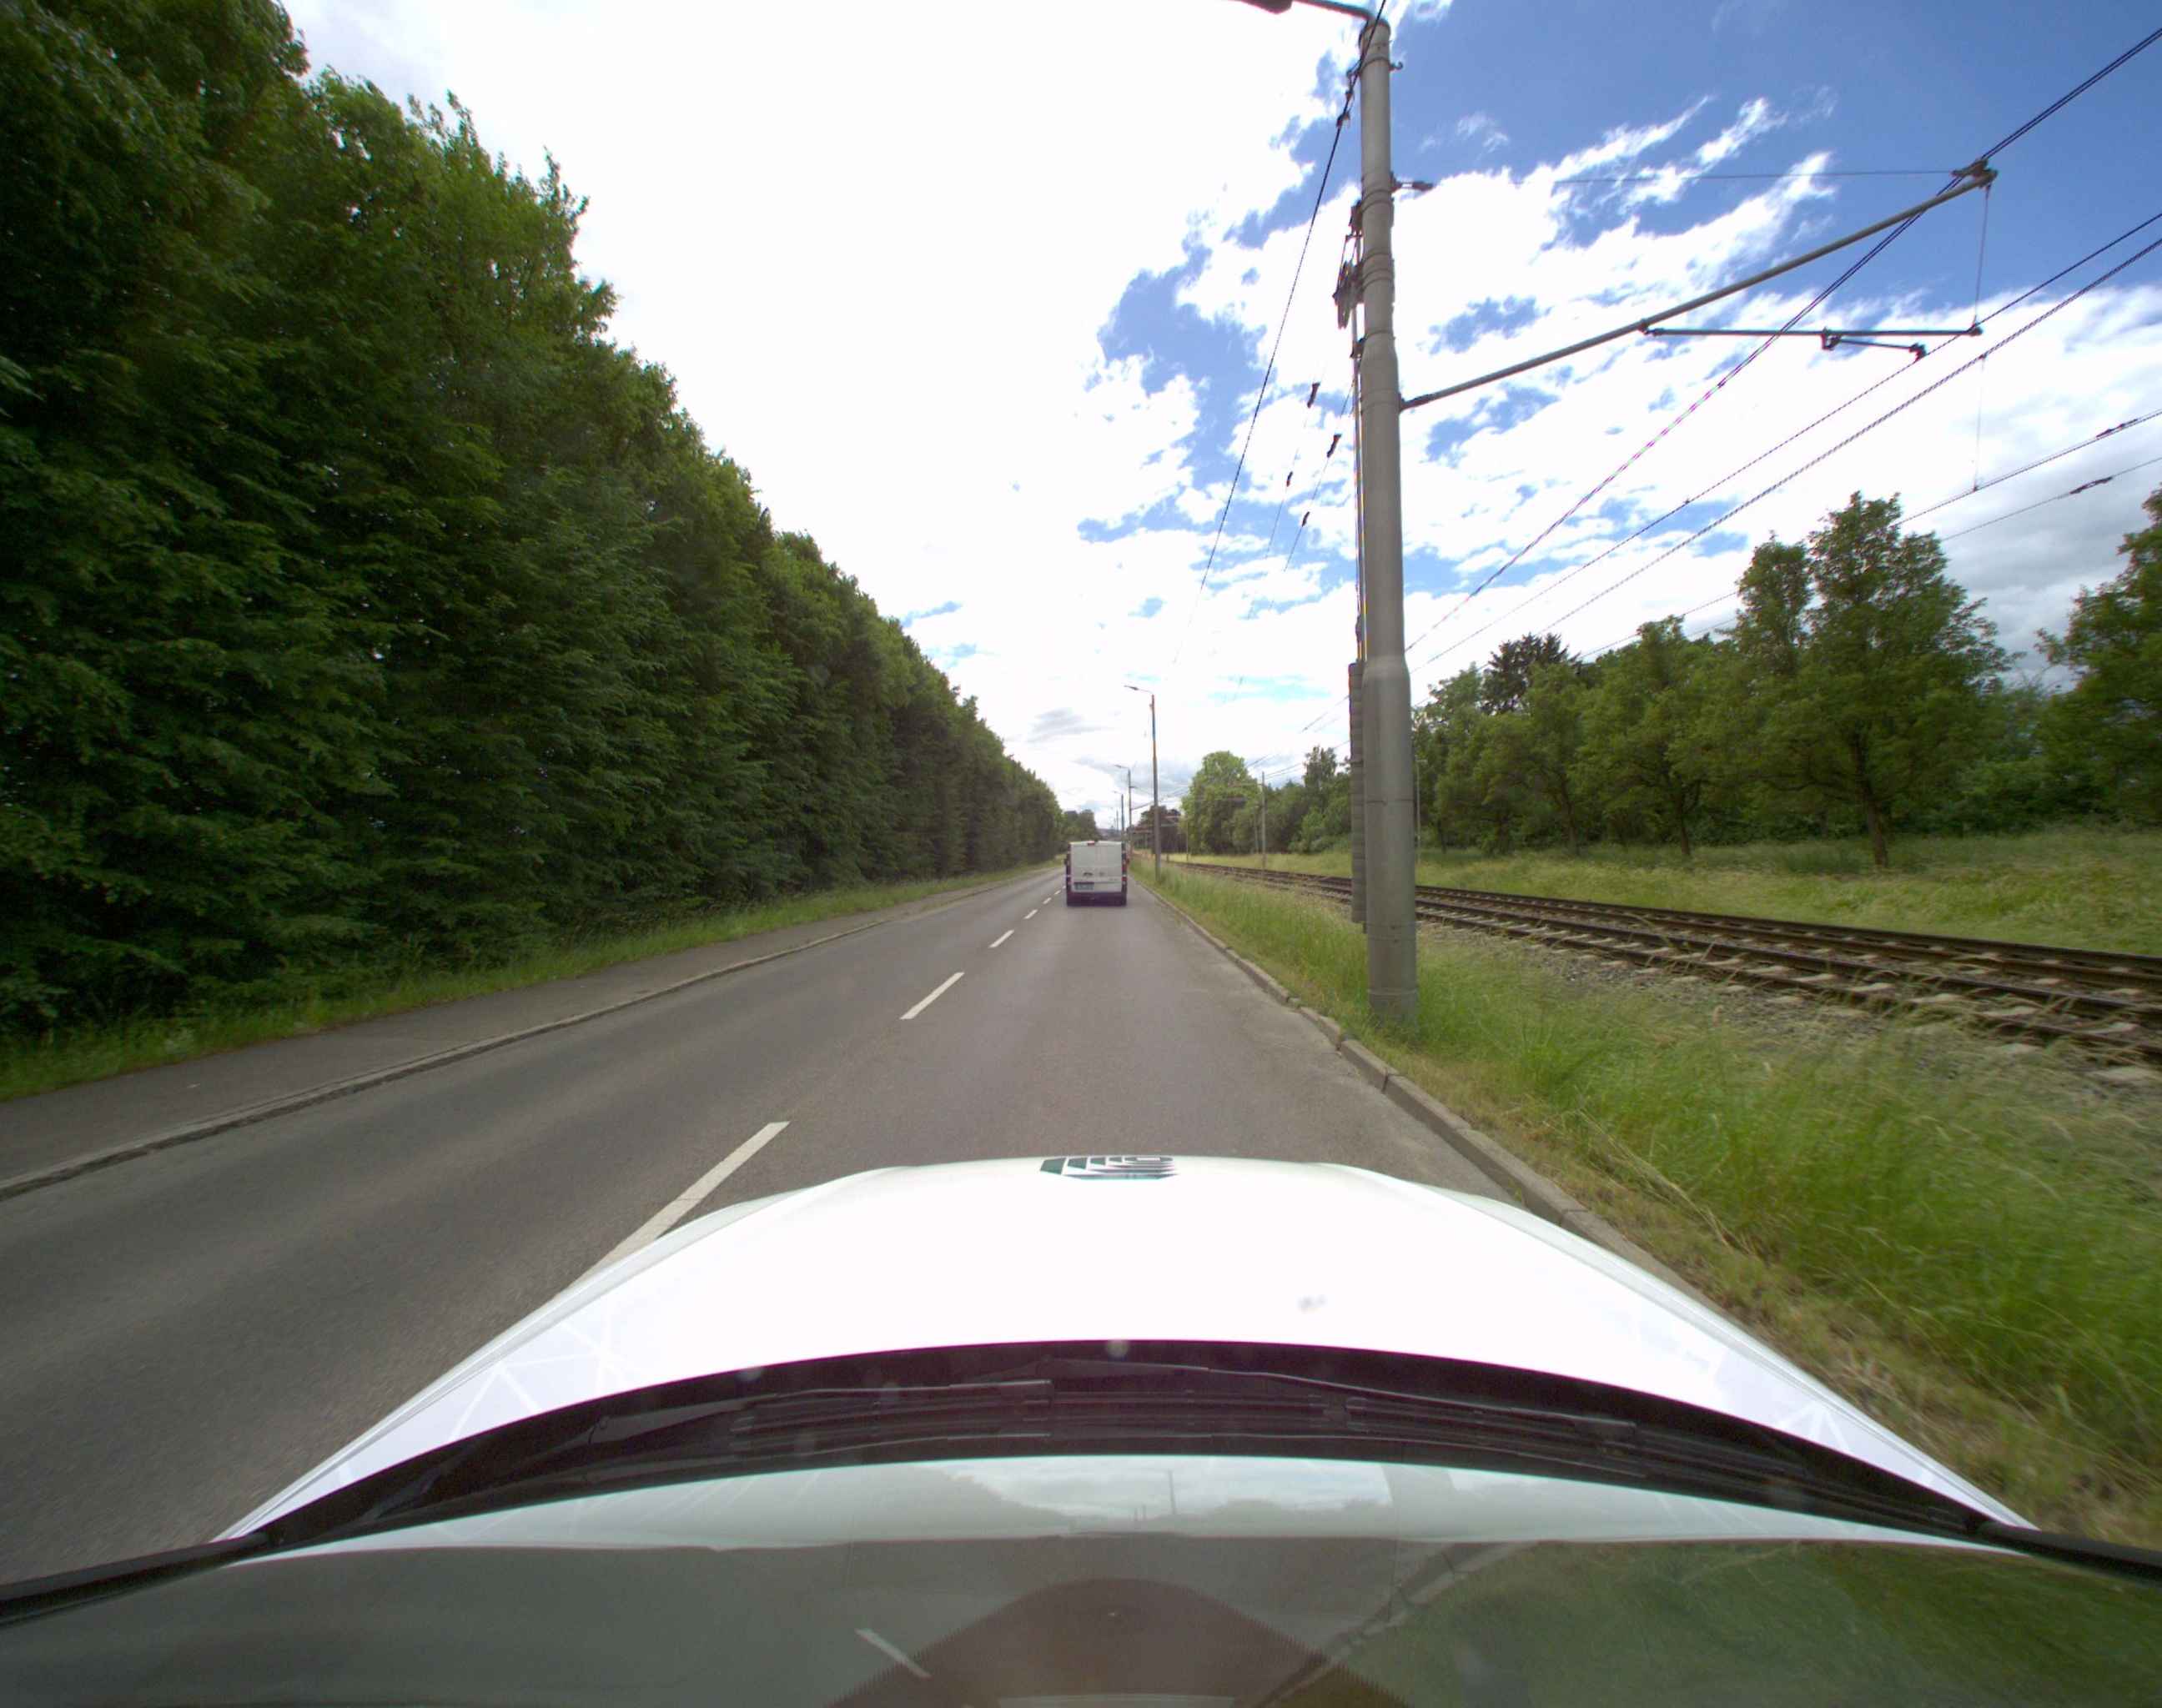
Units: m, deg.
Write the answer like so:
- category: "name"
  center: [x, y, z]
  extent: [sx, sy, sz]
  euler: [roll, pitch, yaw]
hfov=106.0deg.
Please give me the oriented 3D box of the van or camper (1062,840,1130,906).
- category: "van or camper"
  center: [0.434, 0.565, 26.026]
  extent: [1.936, 1.897, 4.283]
  euler: [-2, 0, 0]
